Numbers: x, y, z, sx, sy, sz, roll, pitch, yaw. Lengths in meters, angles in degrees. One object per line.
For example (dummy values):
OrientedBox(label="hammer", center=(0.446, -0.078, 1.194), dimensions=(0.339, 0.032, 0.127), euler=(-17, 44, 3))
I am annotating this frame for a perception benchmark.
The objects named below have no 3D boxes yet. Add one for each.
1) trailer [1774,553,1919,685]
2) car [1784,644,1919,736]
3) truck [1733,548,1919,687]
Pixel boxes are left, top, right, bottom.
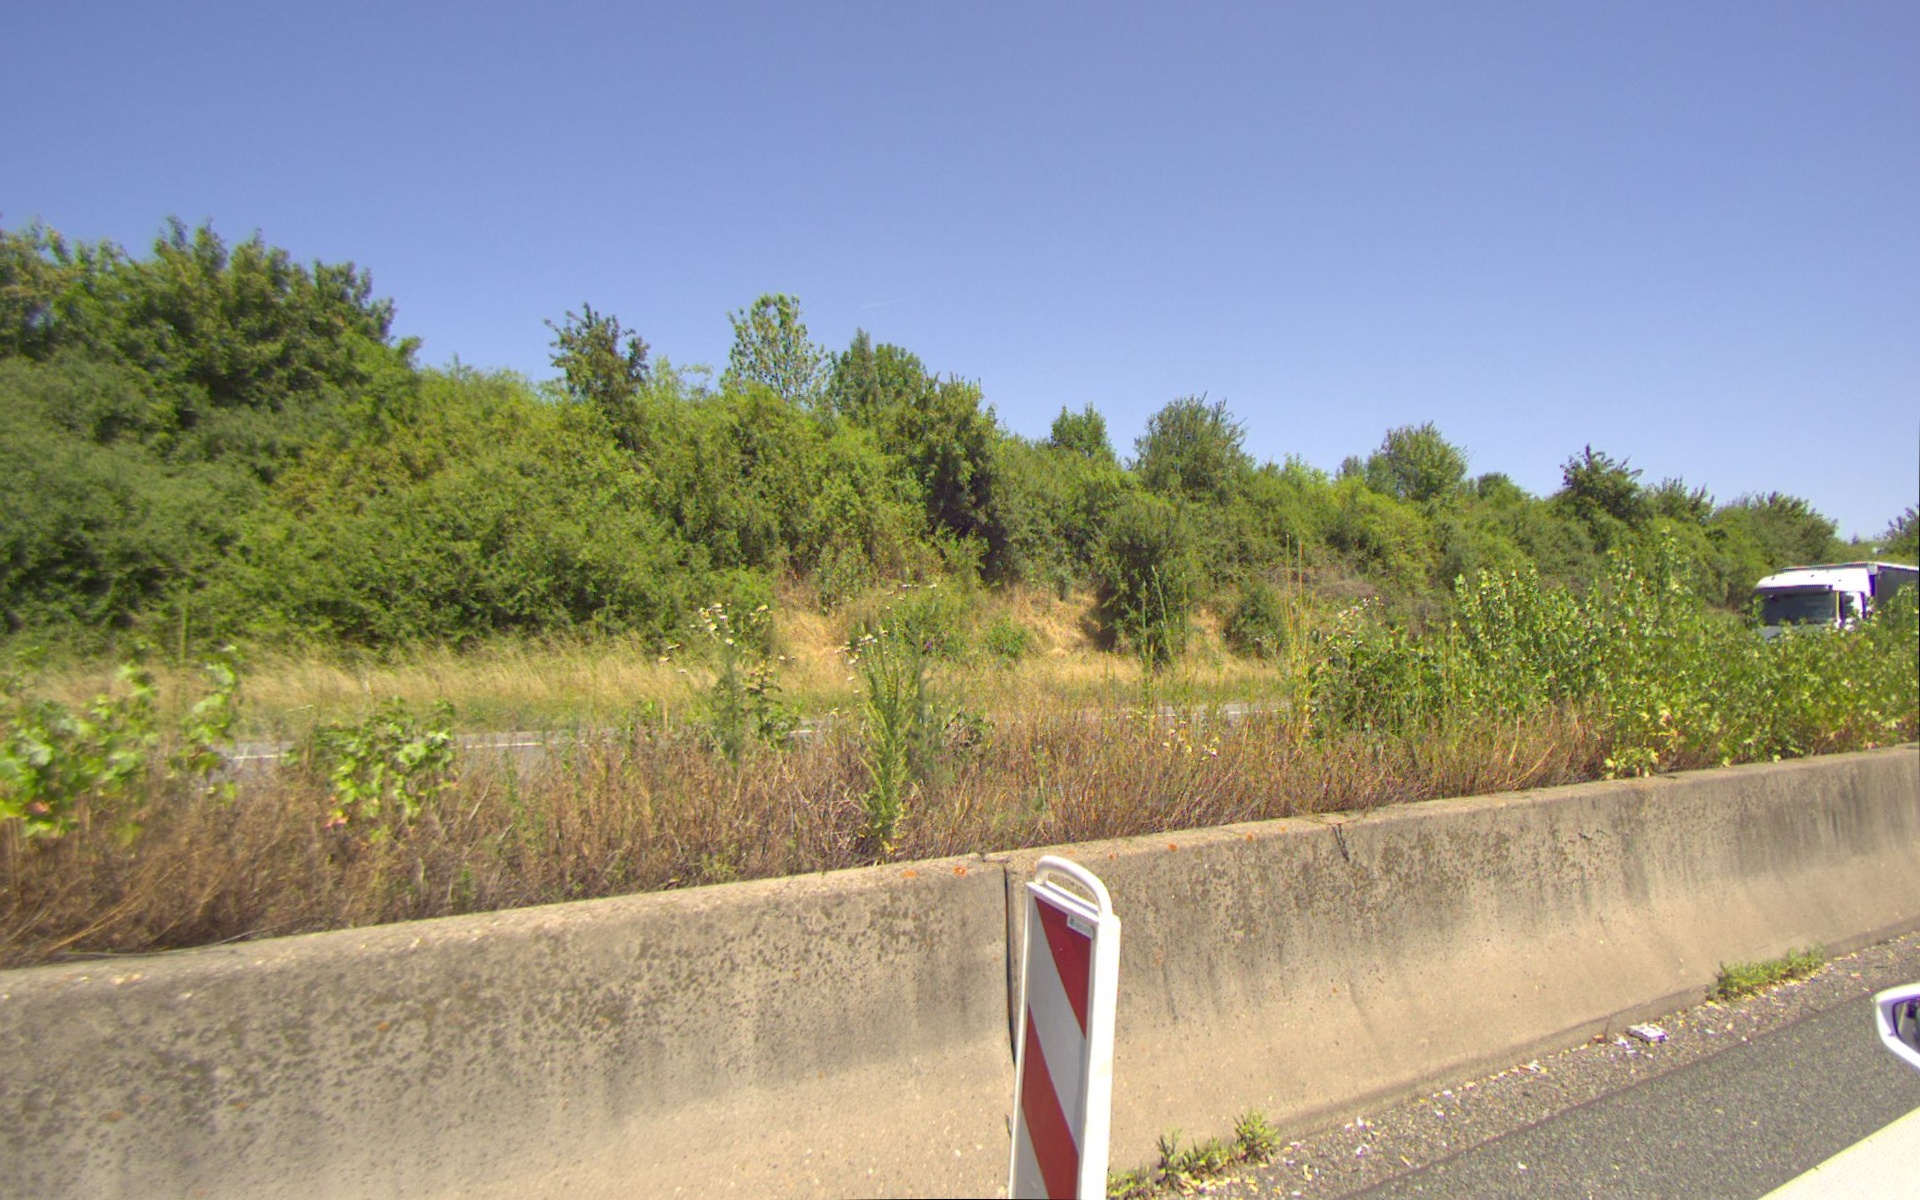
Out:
OrientedBox(label="trailer", center=(34.760, 0.867, 36.658), dimensions=(14.026, 4.220, 2.742), euler=(2, -4, -30))
OrientedBox(label="car", center=(22.060, 2.118, 24.472), dimensions=(3.635, 2.040, 1.894), euler=(1, -2, -29))
OrientedBox(label="truck", center=(28.858, 0.692, 33.290), dimensions=(6.334, 4.220, 2.740), euler=(2, -4, -29))
